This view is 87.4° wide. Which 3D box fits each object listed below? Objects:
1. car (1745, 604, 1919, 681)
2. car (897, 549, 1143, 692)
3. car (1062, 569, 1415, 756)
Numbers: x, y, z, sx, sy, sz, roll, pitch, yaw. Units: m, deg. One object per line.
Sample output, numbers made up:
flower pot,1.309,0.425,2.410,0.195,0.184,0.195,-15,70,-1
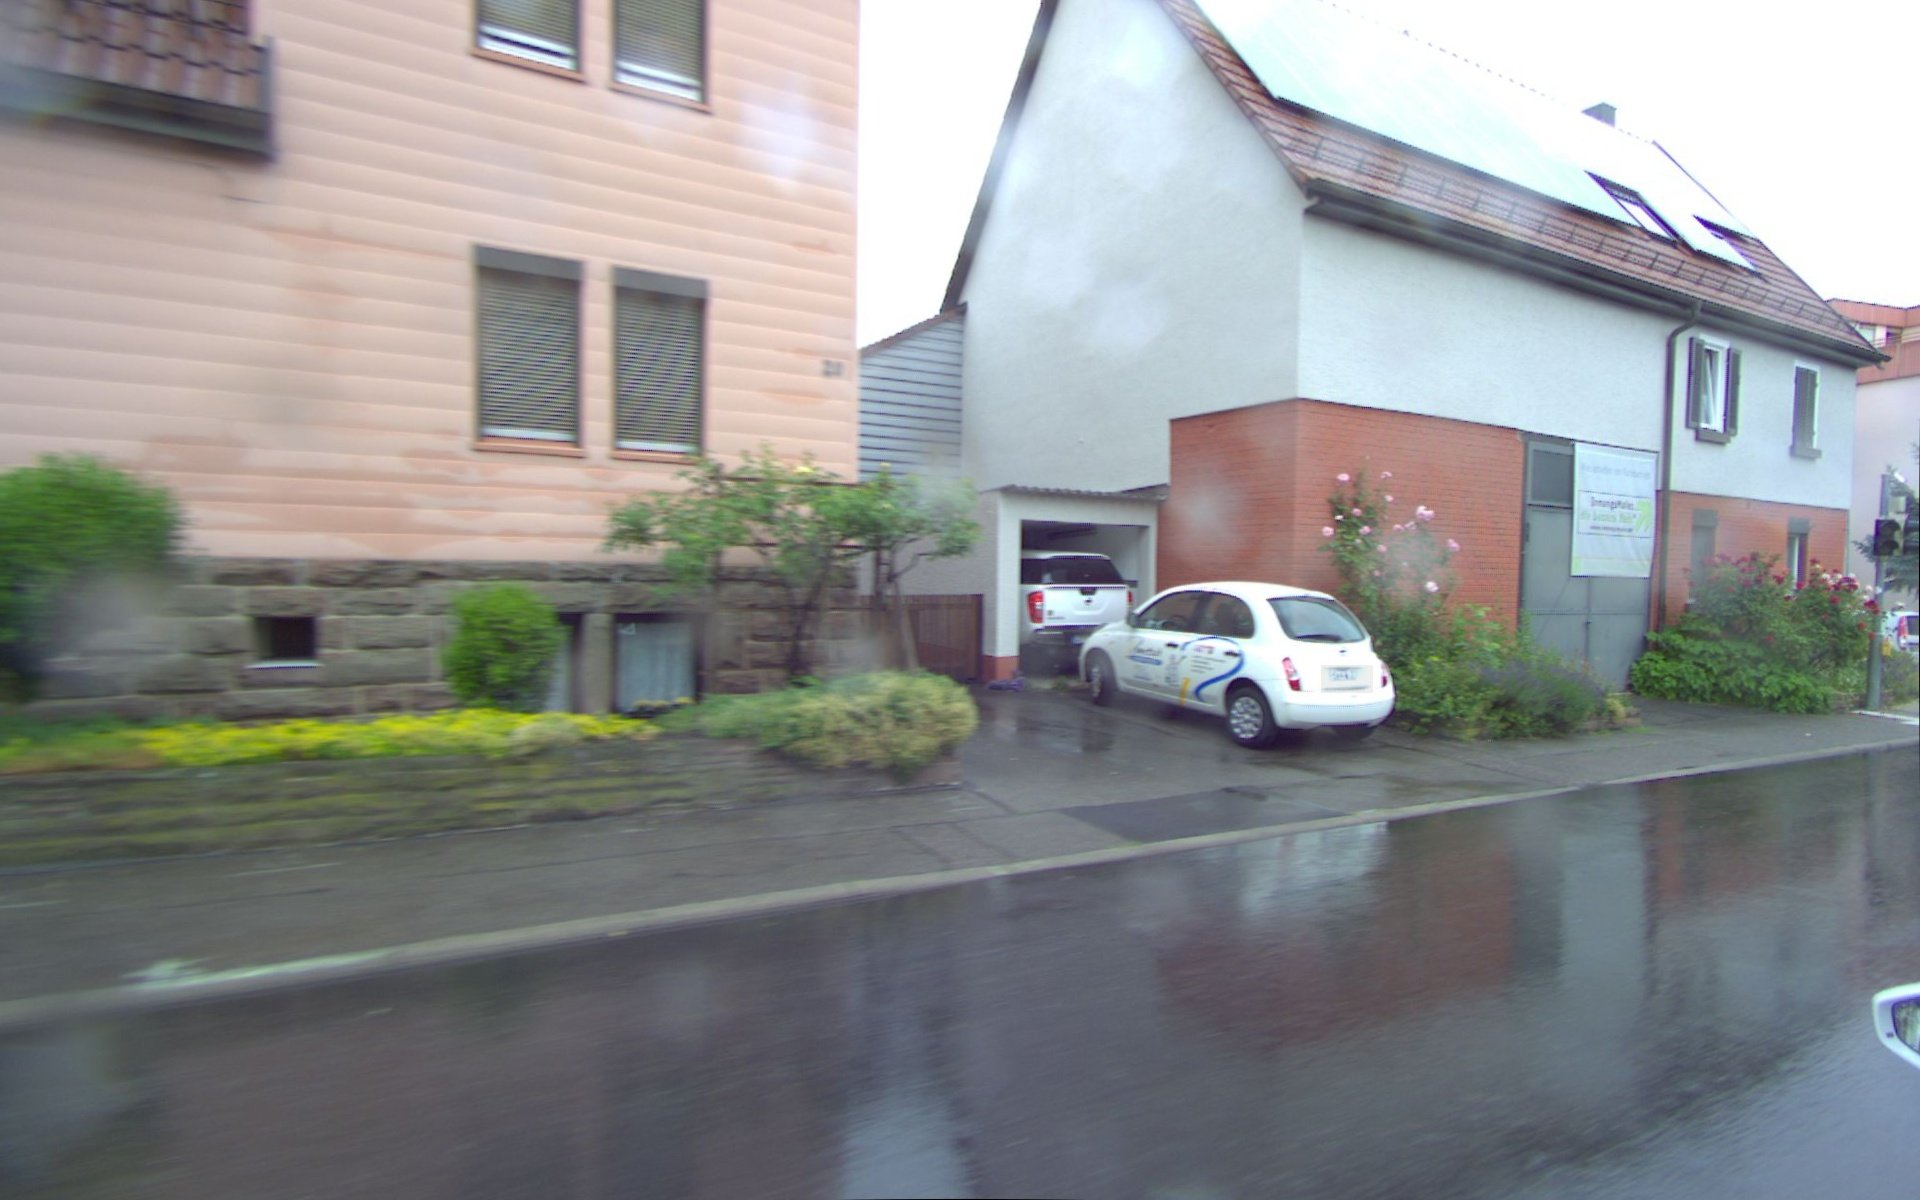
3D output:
car,24.500,1.126,27.673,2.152,1.894,3.987,2,0,-15
car,0.749,0.197,15.175,1.738,1.787,3.966,1,3,-31
car,2.818,0.527,10.897,1.643,1.550,3.528,1,3,-29
